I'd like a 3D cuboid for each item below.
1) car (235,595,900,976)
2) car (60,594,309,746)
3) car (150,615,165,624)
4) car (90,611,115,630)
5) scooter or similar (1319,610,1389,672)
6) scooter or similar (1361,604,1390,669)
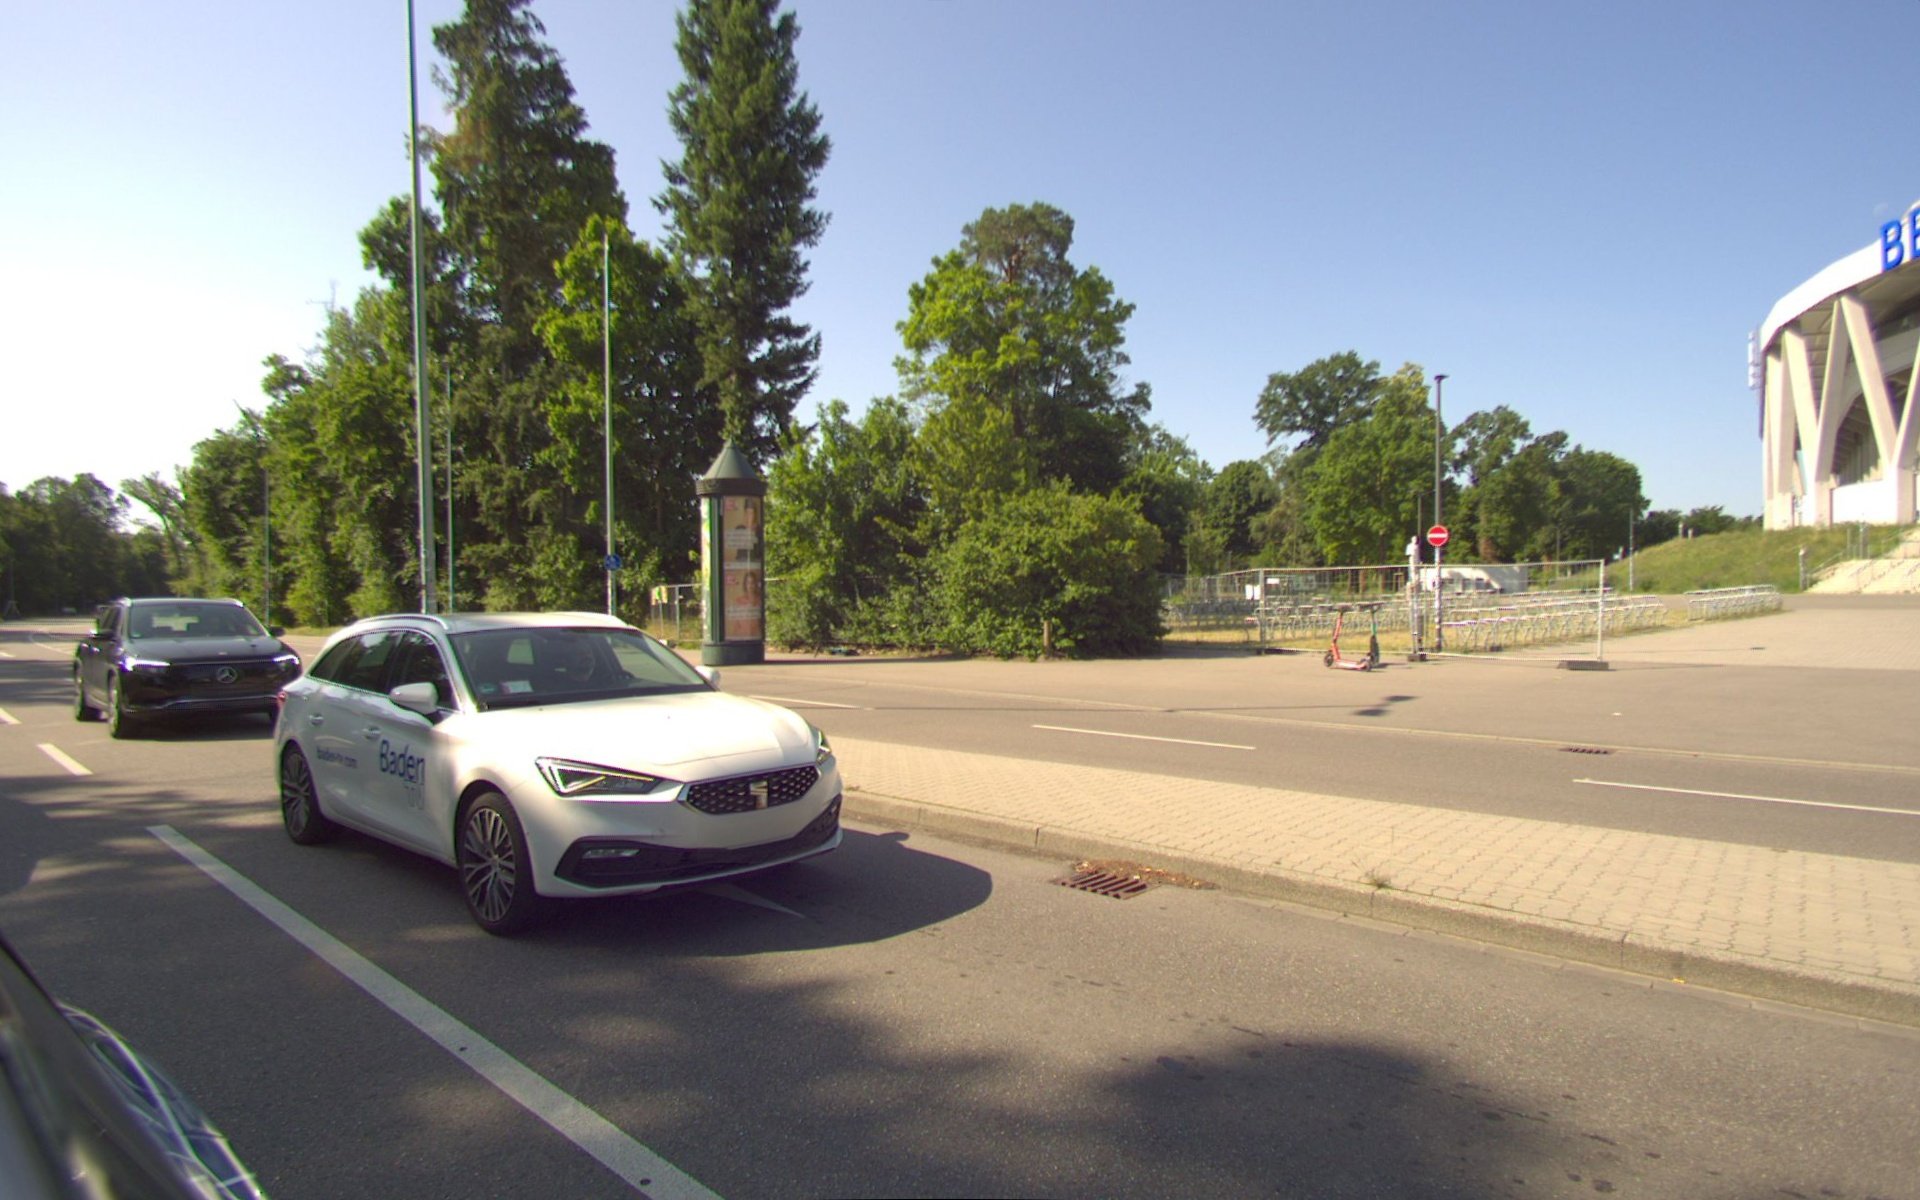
[{"bbox_3d":[-2.635,0.734,6.032,4.717,1.437,1.707,-1,-1,41],"label":"car"},{"bbox_3d":[-9.911,0.770,12.809,4.272,1.608,1.785,-1,-1,42],"label":"car"},{"bbox_3d":[-139.114,3.354,175.363,1.830,1.630,4.005,-1,0,-42],"label":"car"},{"bbox_3d":[-87.747,2.047,103.513,1.849,1.874,4.005,-1,0,-42],"label":"car"},{"bbox_3d":[7.576,0.772,19.497,0.390,1.154,1.197,-1,0,-43],"label":"scooter or similar"},{"bbox_3d":[8.214,0.707,20.020,0.393,1.231,1.075,-1,0,17],"label":"scooter or similar"}]
